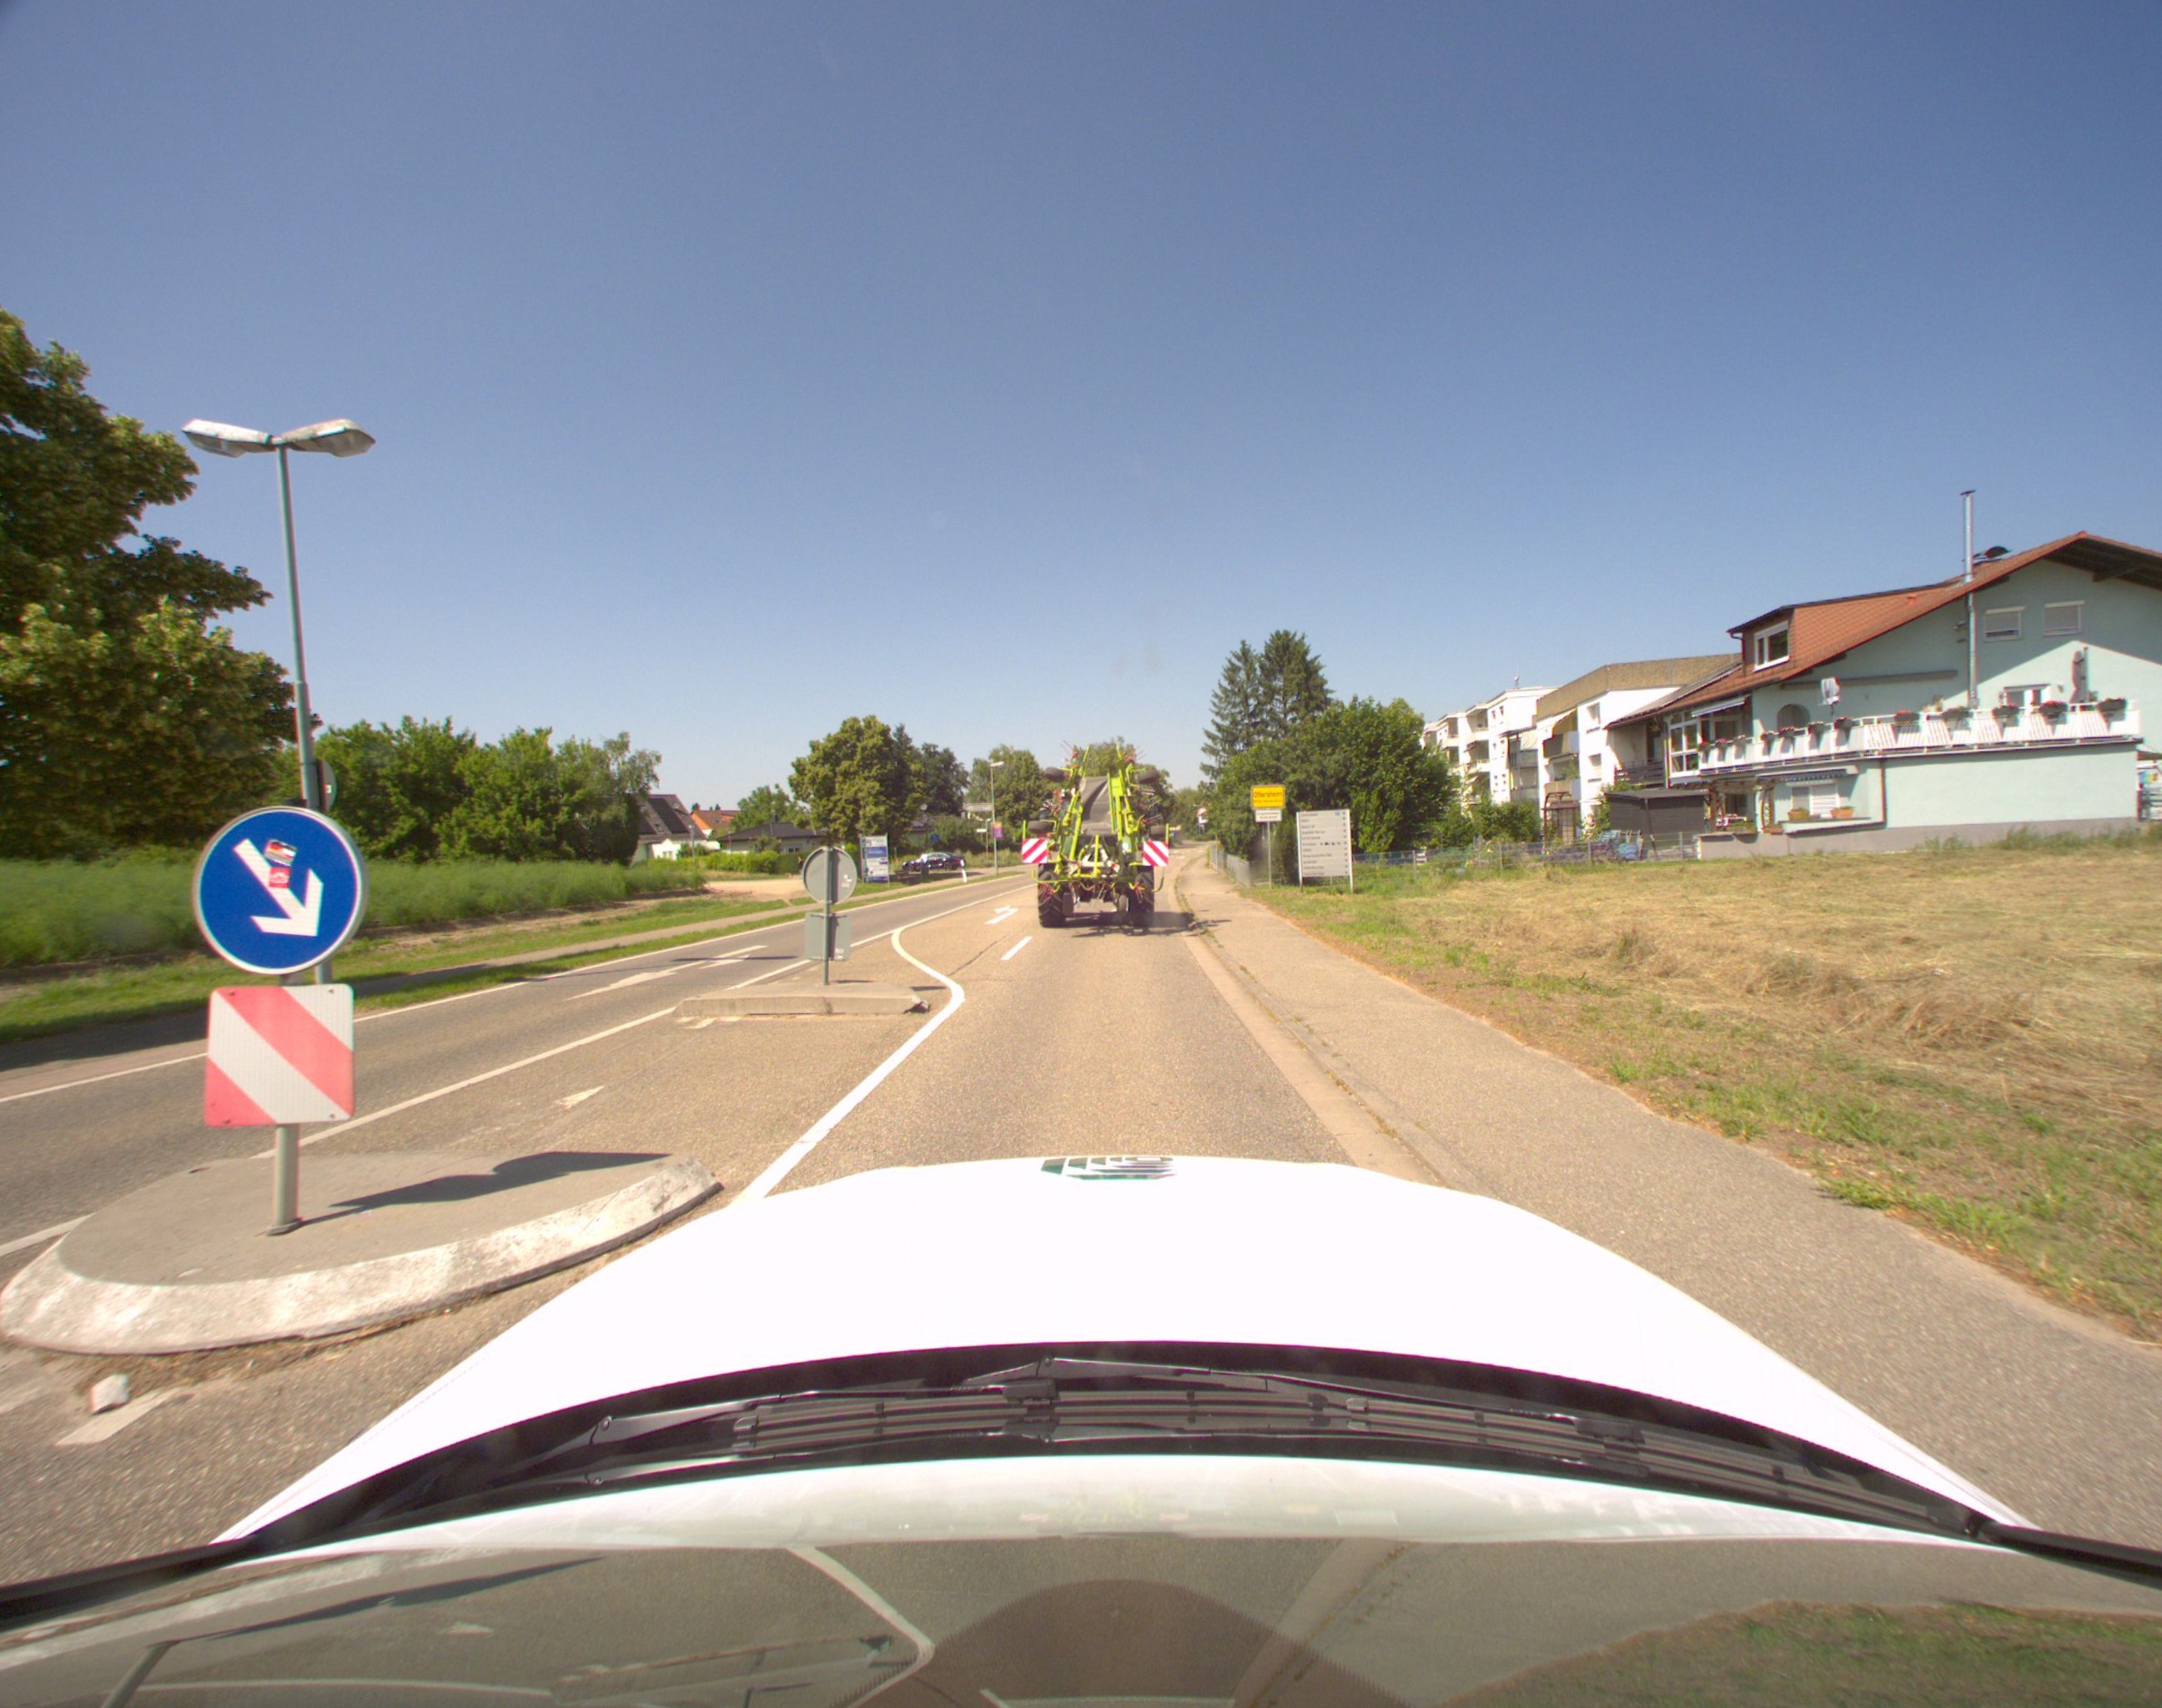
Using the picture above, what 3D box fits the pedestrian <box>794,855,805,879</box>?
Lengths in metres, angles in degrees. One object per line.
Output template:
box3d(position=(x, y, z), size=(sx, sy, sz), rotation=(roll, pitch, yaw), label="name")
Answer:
box3d(position=(-20.432, 0.953, 59.129), size=(0.677, 1.716, 0.546), rotation=(-2, 1, -24), label="pedestrian")

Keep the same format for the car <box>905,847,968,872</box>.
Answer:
box3d(position=(-10.410, 0.375, 58.904), size=(4.074, 1.519, 2.000), rotation=(-3, 0, -1), label="car")

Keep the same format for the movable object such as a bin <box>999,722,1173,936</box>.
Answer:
box3d(position=(0.375, -0.489, 18.629), size=(2.841, 3.541, 9.710), rotation=(-2, 1, 3), label="movable object such as a bin")
